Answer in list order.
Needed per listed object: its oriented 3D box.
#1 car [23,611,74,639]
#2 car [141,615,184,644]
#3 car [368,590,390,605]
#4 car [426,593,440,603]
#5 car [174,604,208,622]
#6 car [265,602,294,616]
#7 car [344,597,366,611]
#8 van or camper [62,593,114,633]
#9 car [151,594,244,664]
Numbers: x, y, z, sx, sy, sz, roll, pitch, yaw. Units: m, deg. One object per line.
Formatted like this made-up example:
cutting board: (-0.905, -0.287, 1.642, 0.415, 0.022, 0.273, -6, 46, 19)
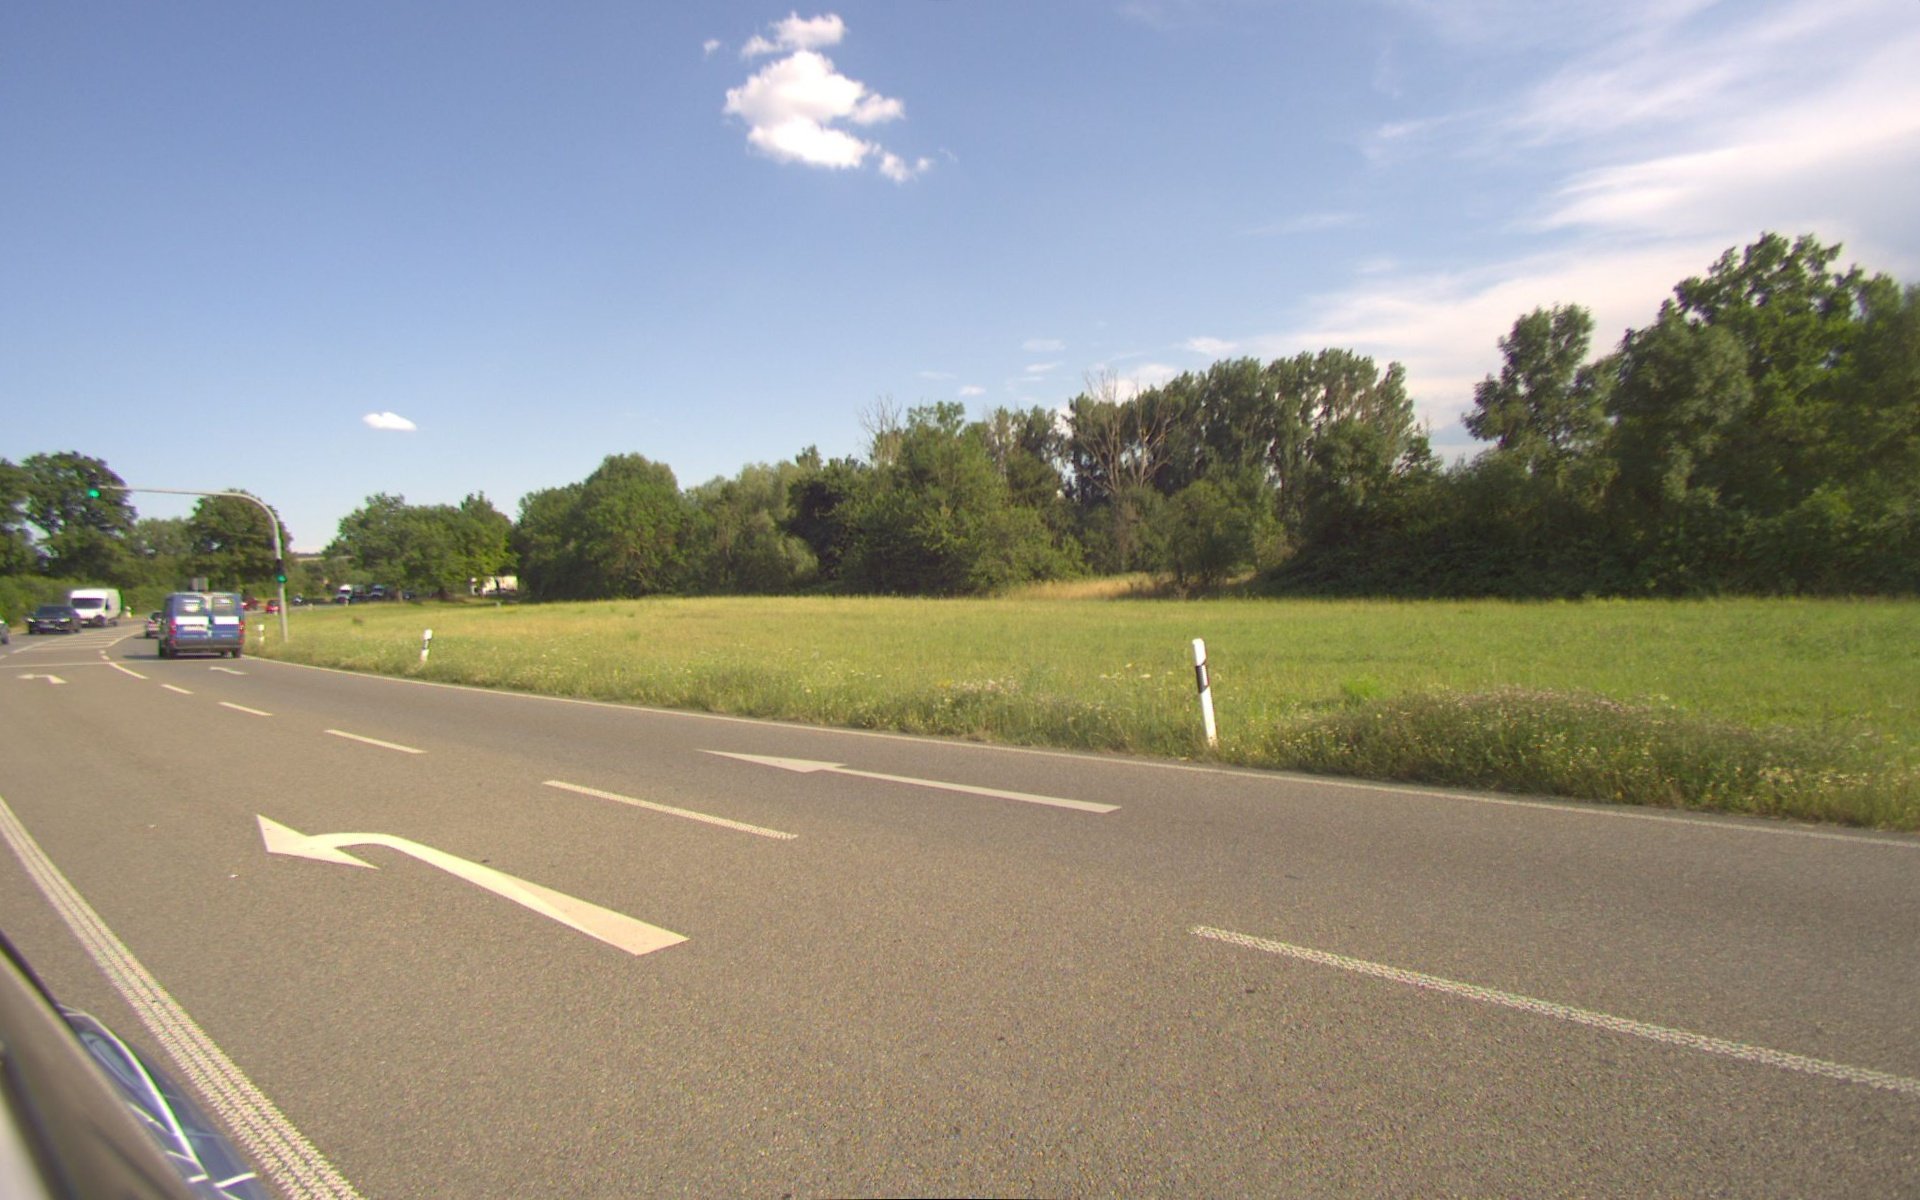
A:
car: (-51.135, 1.404, 56.828, 1.581, 1.490, 3.626, 1, -1, -34)
car: (-41.863, 1.511, 53.118, 1.685, 1.439, 4.186, -1, 0, -39)
car: (-96.566, -0.492, 168.314, 1.966, 2.405, 4.951, -3, 1, -16)
car: (-94.372, -0.374, 181.254, 1.612, 1.707, 3.628, 0, 0, -15)
car: (-72.016, 1.196, 94.808, 1.646, 1.490, 3.506, -3, 1, -22)
car: (-73.436, 0.945, 109.251, 1.563, 1.478, 3.617, 0, -1, -16)
car: (-86.892, 0.634, 145.484, 1.700, 1.897, 4.348, 0, -1, -17)
van or camper: (-58.350, 0.827, 67.791, 2.002, 2.494, 5.090, -3, 1, -35)
car: (-25.467, 0.926, 33.722, 1.974, 2.153, 4.784, -1, 0, -43)
